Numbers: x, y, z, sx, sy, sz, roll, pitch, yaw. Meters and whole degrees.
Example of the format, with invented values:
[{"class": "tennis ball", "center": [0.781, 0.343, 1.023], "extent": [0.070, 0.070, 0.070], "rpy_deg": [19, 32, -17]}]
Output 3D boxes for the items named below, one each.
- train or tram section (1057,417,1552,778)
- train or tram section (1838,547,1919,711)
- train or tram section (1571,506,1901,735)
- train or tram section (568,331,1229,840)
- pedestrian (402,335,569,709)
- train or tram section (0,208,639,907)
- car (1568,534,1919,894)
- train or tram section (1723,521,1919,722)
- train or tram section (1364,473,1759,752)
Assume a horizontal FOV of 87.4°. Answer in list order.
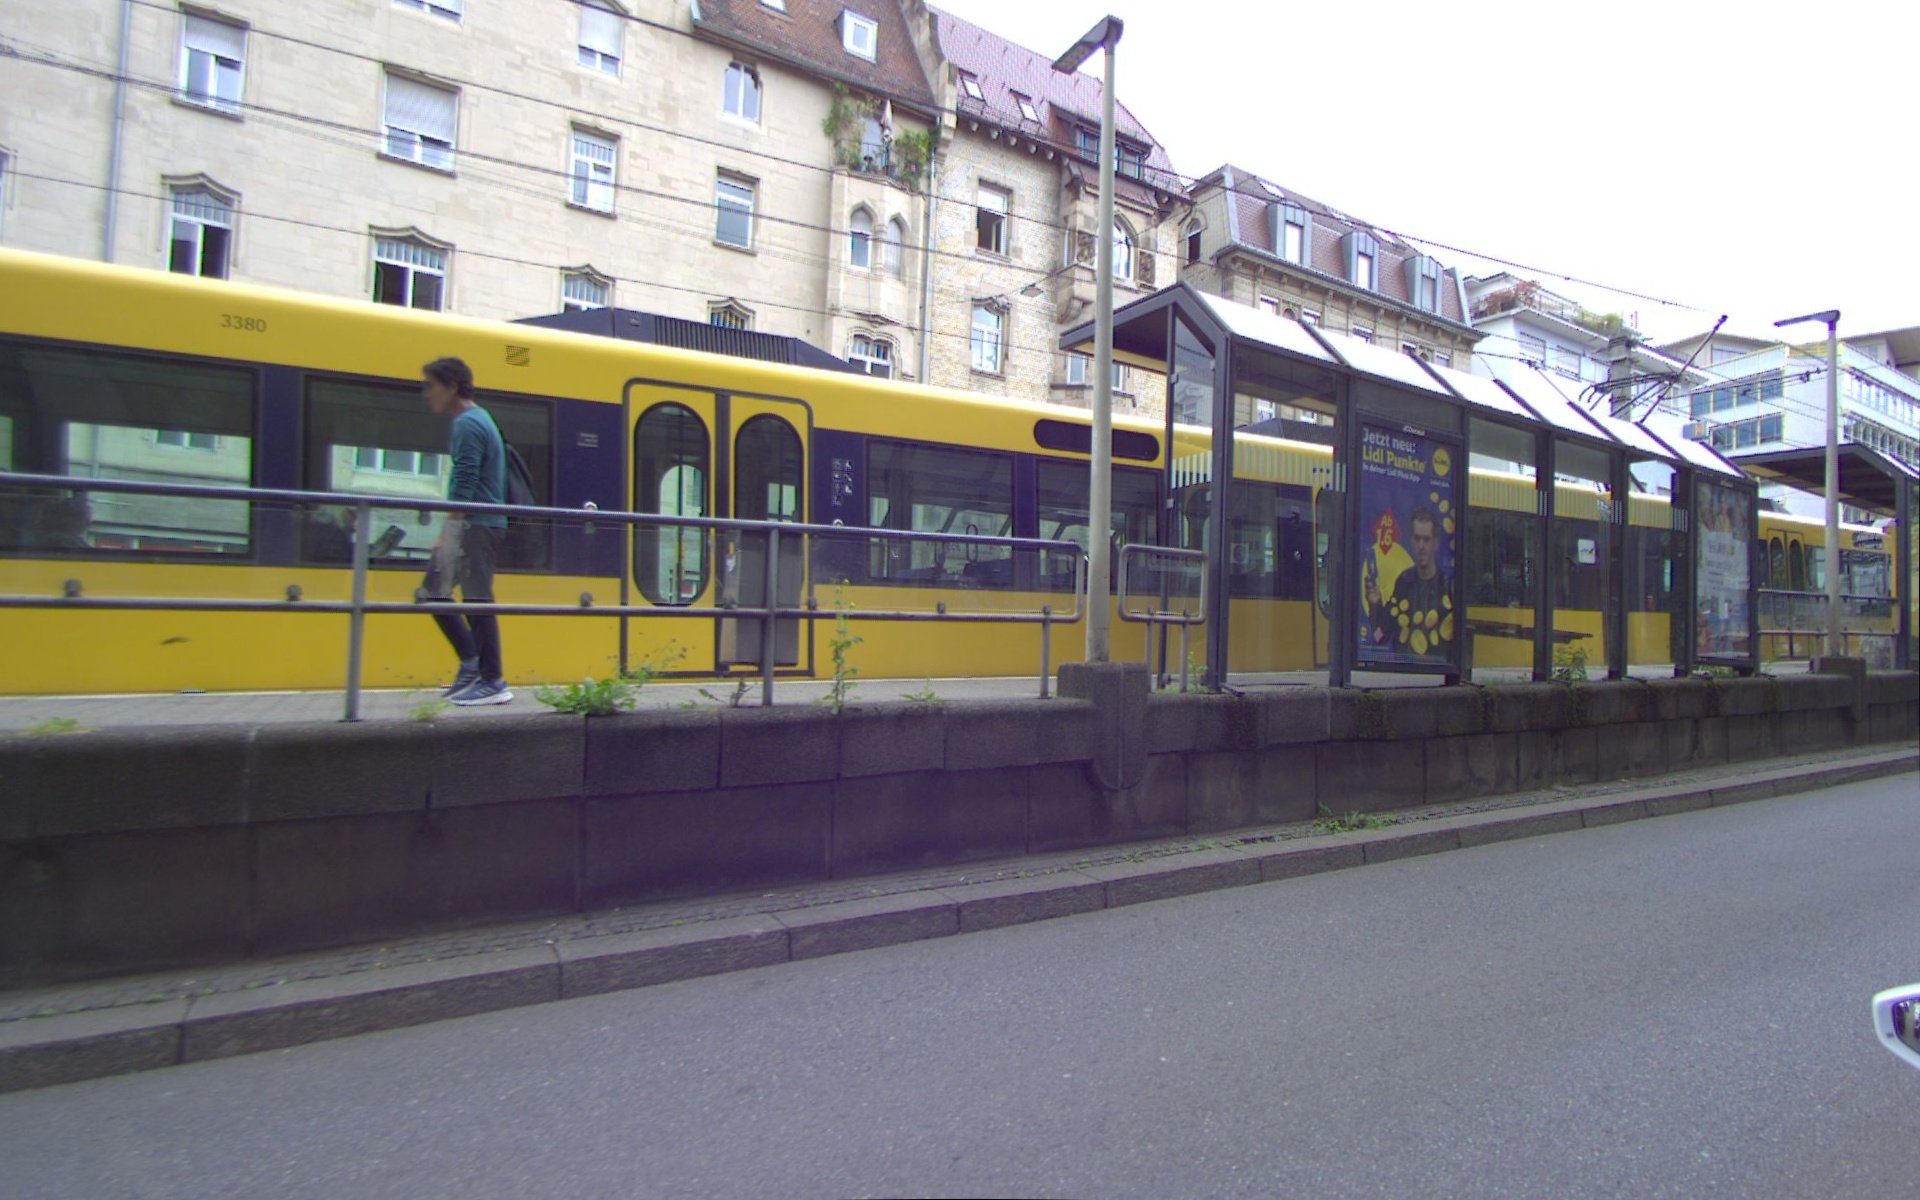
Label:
[{"class": "train or tram section", "center": [4.379, 0.048, 12.596], "extent": [5.684, 3.567, 2.821], "rpy_deg": [2, -1, -30]}, {"class": "train or tram section", "center": [24.576, 0.754, 24.466], "extent": [6.672, 3.715, 2.800], "rpy_deg": [2, -1, -30]}, {"class": "train or tram section", "center": [14.219, 0.395, 18.357], "extent": [5.684, 3.567, 2.821], "rpy_deg": [2, -1, -30]}, {"class": "train or tram section", "center": [-0.523, -0.028, 9.711], "extent": [5.684, 3.567, 2.821], "rpy_deg": [2, -1, -30]}, {"class": "pedestrian", "center": [-2.446, -0.351, 5.166], "extent": [0.662, 1.753, 0.714], "rpy_deg": [3, -1, -29]}, {"class": "train or tram section", "center": [-5.429, -0.212, 6.816], "extent": [5.684, 3.727, 2.821], "rpy_deg": [2, -1, -30]}, {"class": "car", "center": [7.305, 0.761, 7.644], "extent": [5.086, 2.040, 2.355], "rpy_deg": [3, -1, -29]}, {"class": "train or tram section", "center": [19.194, 0.477, 21.283], "extent": [5.833, 3.715, 2.800], "rpy_deg": [2, -1, -30]}, {"class": "train or tram section", "center": [9.313, 0.238, 15.473], "extent": [5.684, 3.567, 2.821], "rpy_deg": [2, -1, -30]}]
